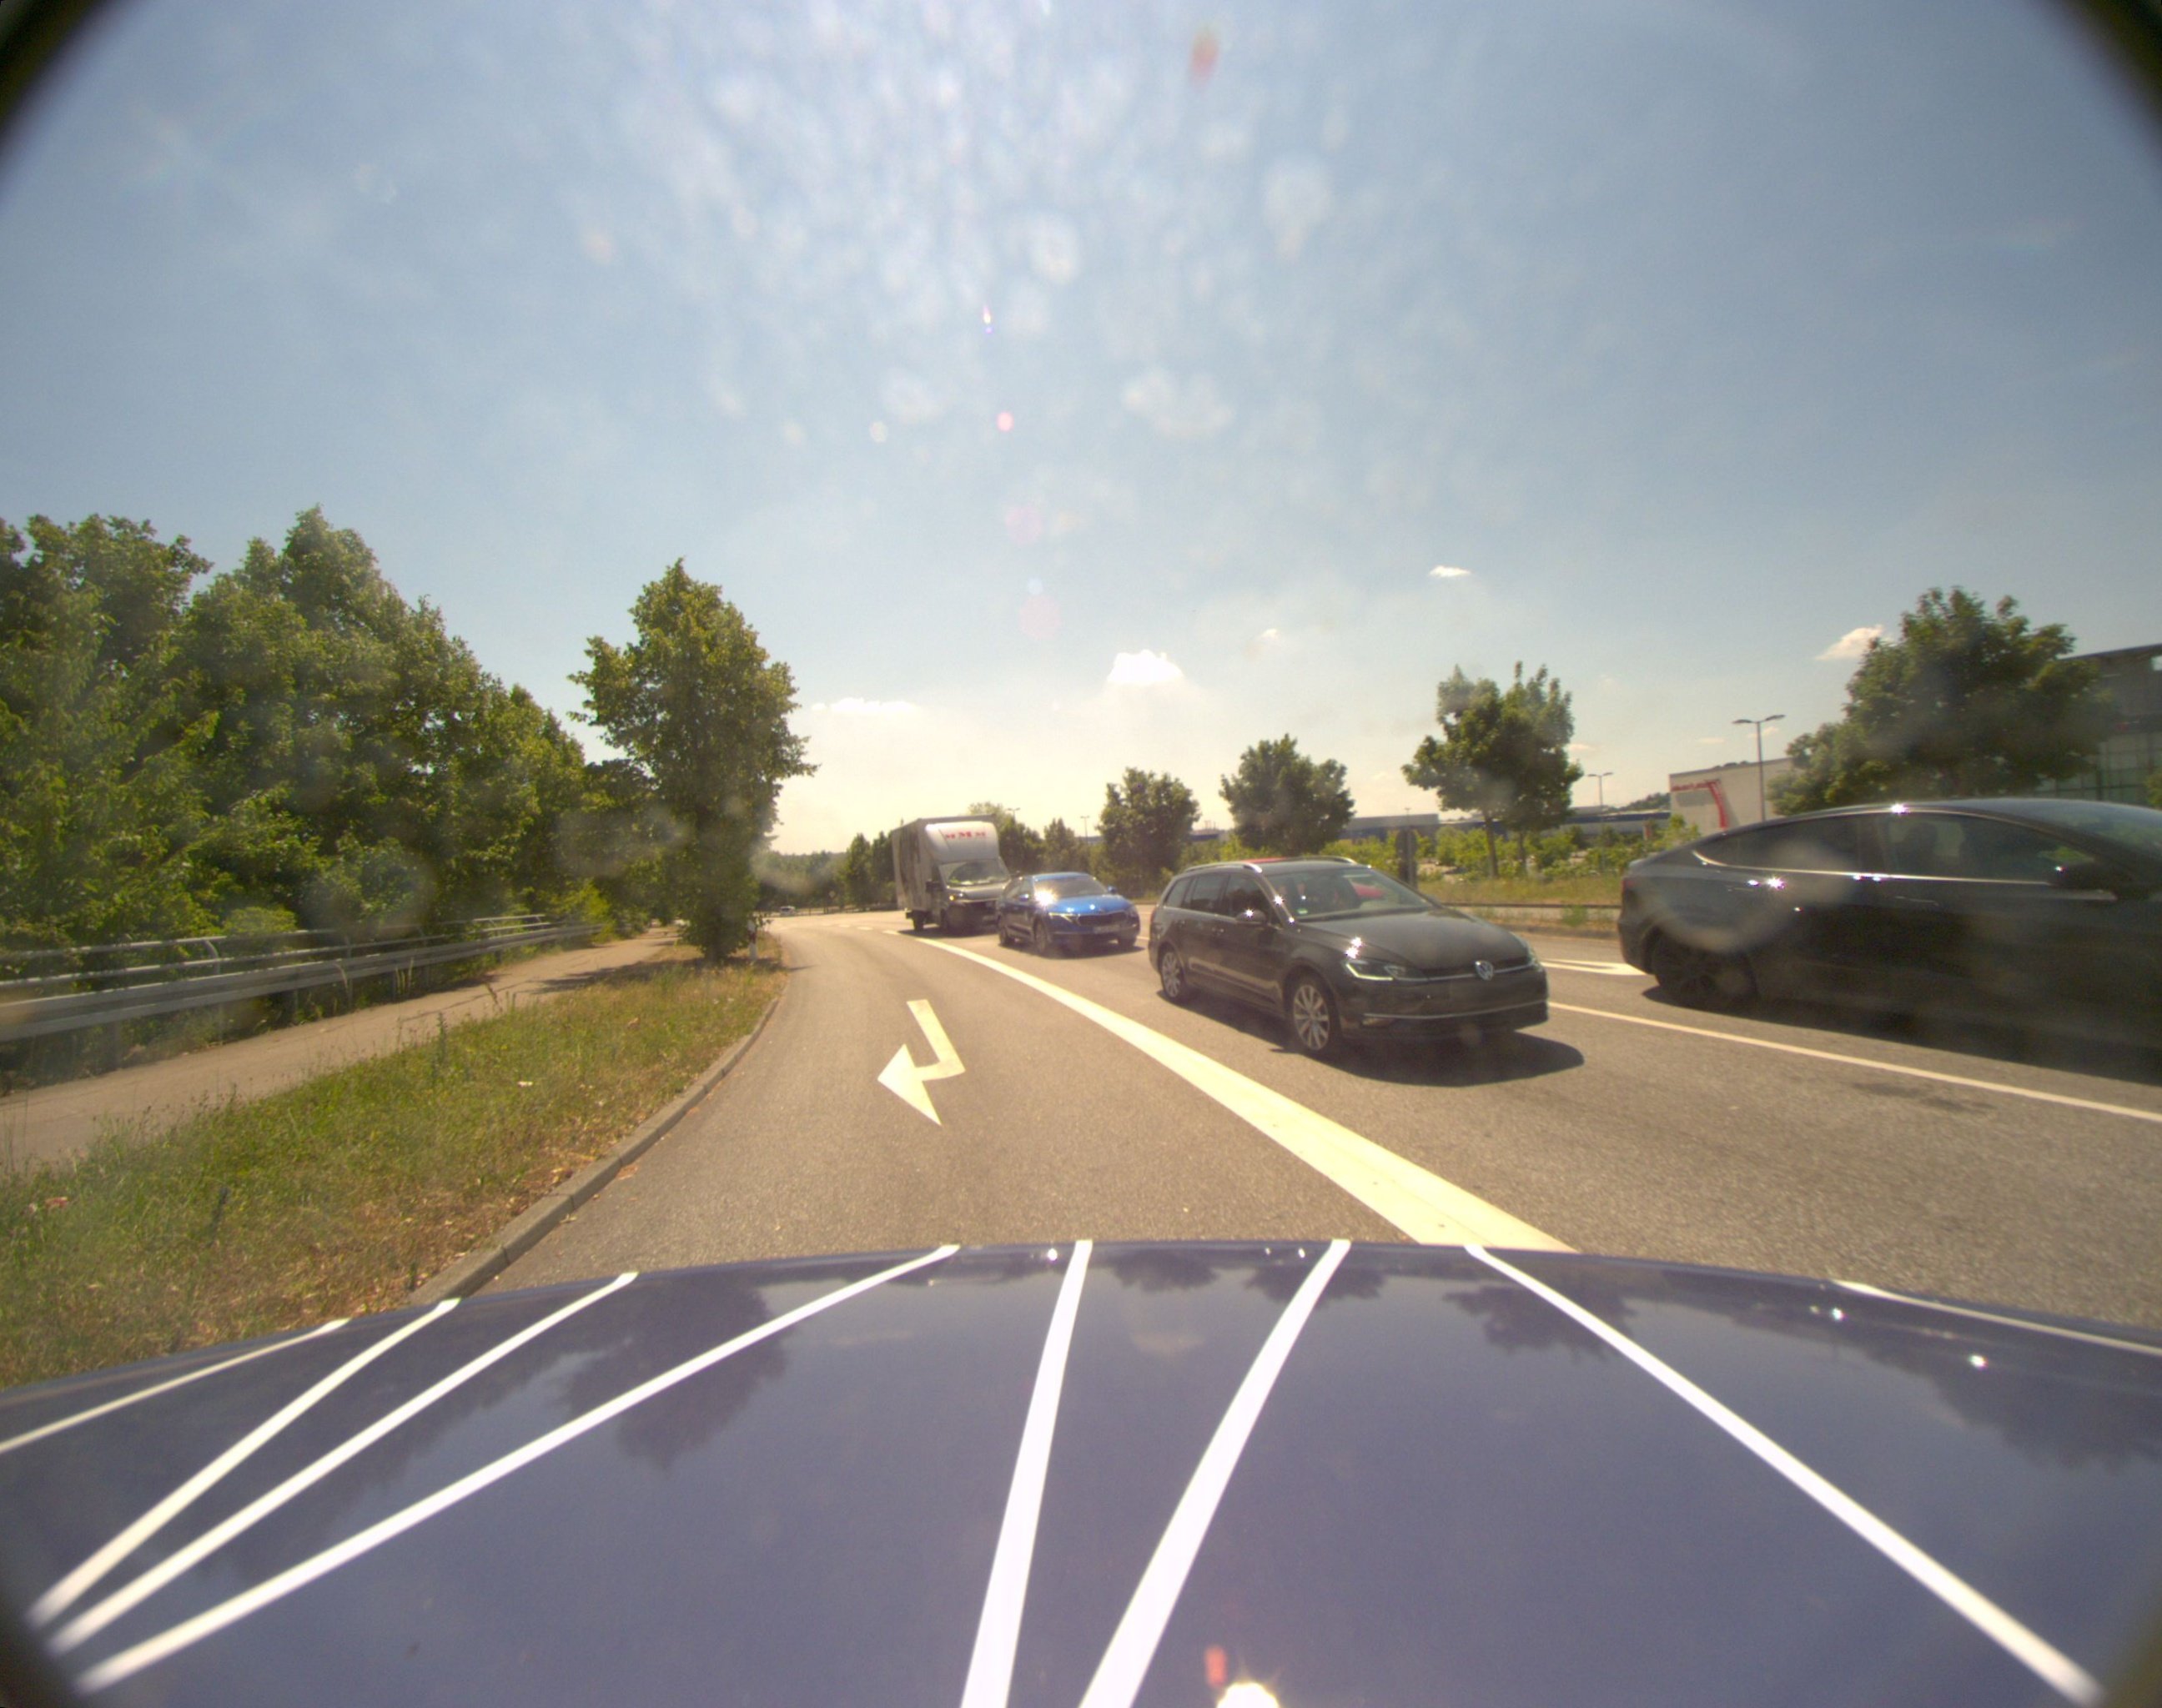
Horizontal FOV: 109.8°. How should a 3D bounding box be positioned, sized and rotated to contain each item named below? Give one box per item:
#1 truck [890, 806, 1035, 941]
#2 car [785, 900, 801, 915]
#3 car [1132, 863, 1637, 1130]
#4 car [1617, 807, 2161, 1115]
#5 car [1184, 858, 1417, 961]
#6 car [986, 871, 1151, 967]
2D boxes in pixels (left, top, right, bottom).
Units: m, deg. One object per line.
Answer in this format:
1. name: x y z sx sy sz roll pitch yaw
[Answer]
1. truck: -3.824 0.656 22.857 2.418 3.327 7.192 -4 -2 -23
2. car: -42.356 7.825 111.838 2.002 1.949 3.994 -3 0 -20
3. car: 2.129 0.902 6.866 1.785 1.473 4.423 -3 0 -17
4. car: 6.340 0.536 4.868 1.882 1.591 4.500 -3 0 -16
5. car: 3.586 0.856 13.393 1.667 1.380 4.444 -5 0 -18
6. car: -0.435 1.171 14.803 1.714 1.453 4.483 -4 -1 -21
